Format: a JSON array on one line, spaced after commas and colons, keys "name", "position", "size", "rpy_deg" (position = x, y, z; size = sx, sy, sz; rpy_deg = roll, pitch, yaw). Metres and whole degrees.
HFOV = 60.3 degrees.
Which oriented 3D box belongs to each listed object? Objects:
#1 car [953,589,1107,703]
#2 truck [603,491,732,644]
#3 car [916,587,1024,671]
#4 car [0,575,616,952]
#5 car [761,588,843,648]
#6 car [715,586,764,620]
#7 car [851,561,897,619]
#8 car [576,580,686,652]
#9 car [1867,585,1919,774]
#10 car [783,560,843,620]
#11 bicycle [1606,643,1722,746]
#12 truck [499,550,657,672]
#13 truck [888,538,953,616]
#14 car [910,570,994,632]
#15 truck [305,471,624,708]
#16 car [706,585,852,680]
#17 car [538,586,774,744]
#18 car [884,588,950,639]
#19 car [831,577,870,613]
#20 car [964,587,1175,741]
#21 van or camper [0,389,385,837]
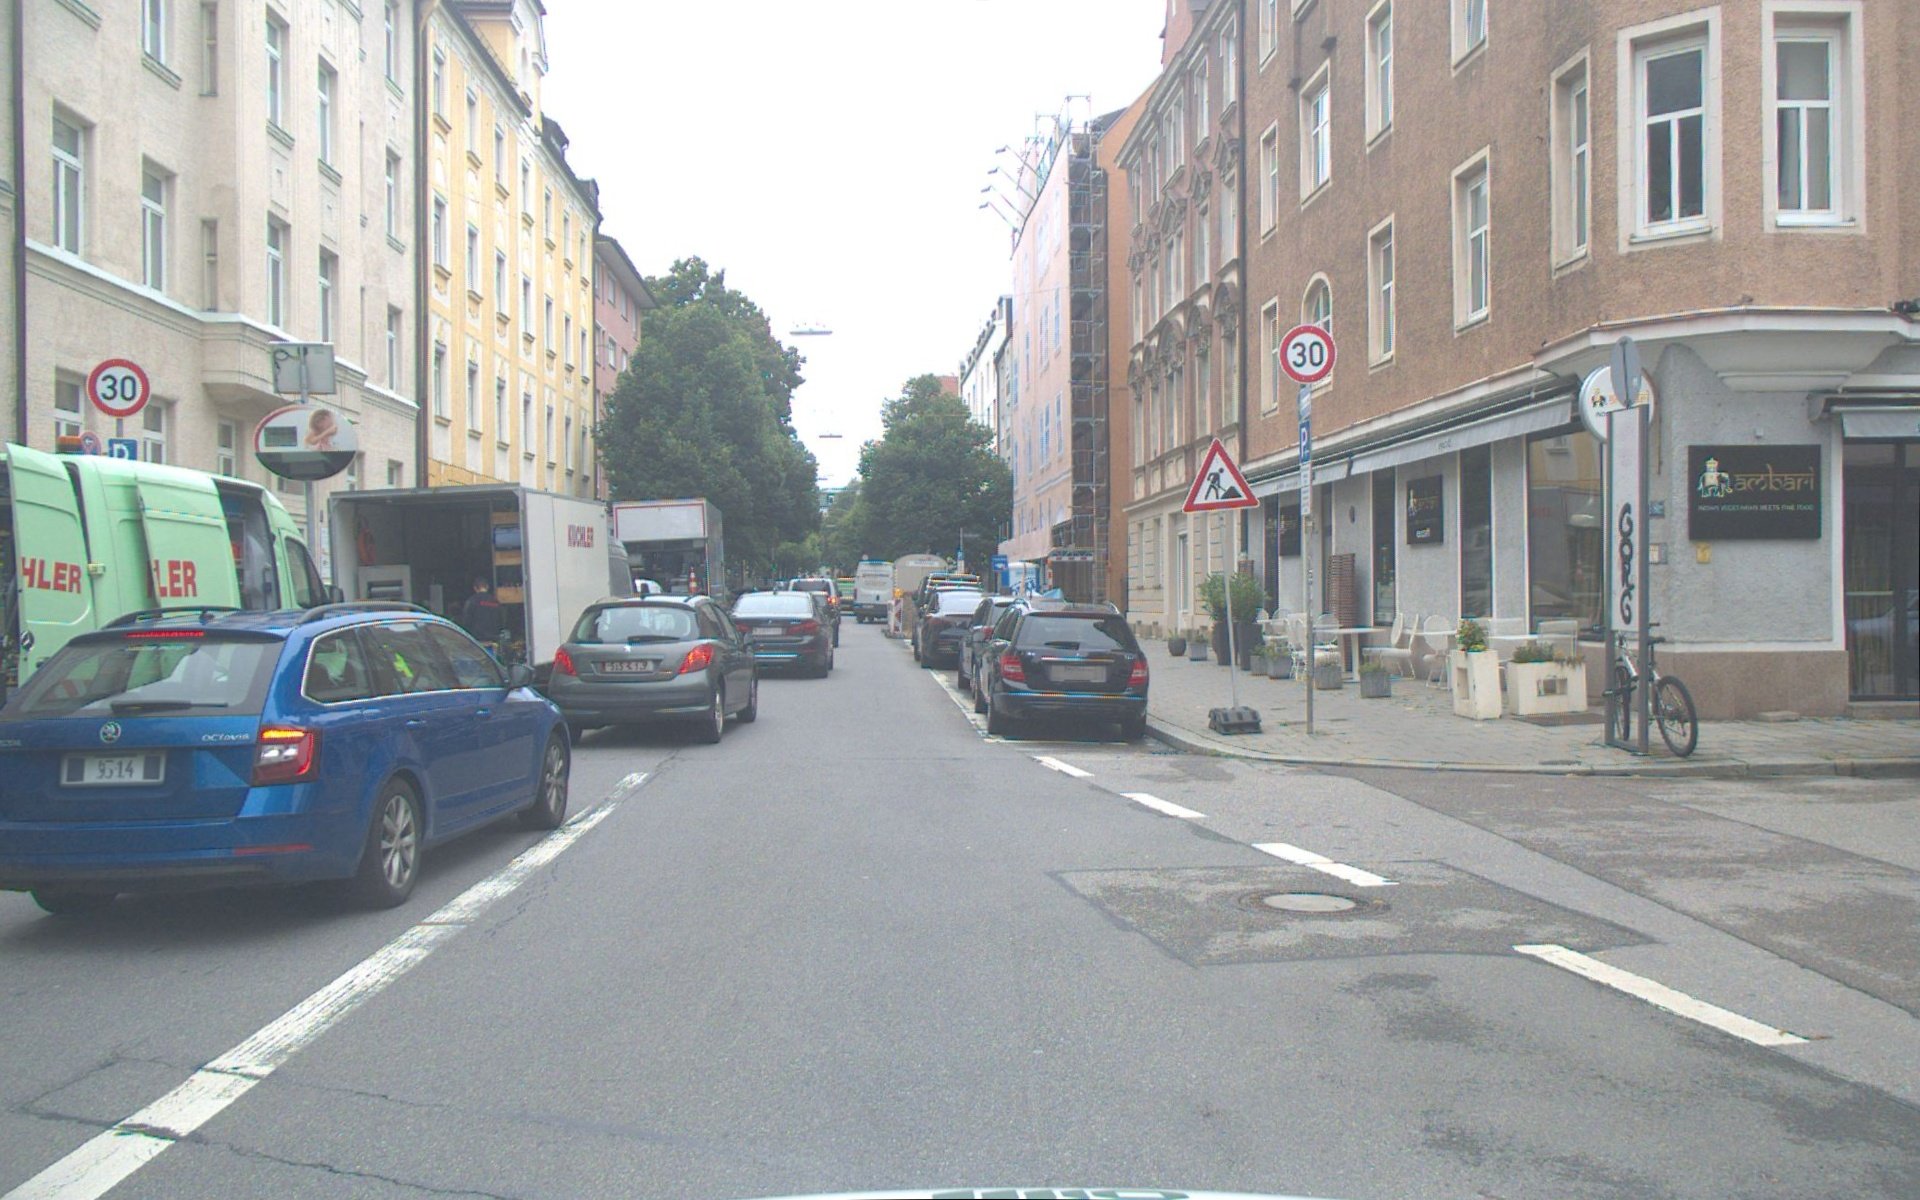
[{"name": "car", "position": [0.965, 0.625, 24.923], "size": [1.808, 1.454, 4.137], "rpy_deg": [2, 1, -4]}, {"name": "truck", "position": [-8.221, -0.872, 47.274], "size": [2.953, 4.021, 6.989], "rpy_deg": [0, 0, -4]}, {"name": "car", "position": [0.138, 0.533, 33.443], "size": [1.808, 1.454, 4.303], "rpy_deg": [2, 1, -4]}, {"name": "car", "position": [-3.464, 0.684, 8.986], "size": [1.945, 1.479, 4.736], "rpy_deg": [-1, -1, 3]}, {"name": "car", "position": [-4.234, 0.448, 44.887], "size": [1.950, 1.454, 4.139], "rpy_deg": [-1, 1, -2]}, {"name": "car", "position": [-9.804, 0.139, 73.657], "size": [1.901, 1.473, 3.863], "rpy_deg": [0, 0, -4]}, {"name": "car", "position": [-3.838, -0.458, 74.220], "size": [1.900, 2.523, 4.781], "rpy_deg": [0, 0, -1]}, {"name": "car", "position": [-7.811, 0.354, 39.629], "size": [1.950, 1.639, 4.138], "rpy_deg": [0, 0, -2]}, {"name": "car", "position": [9.435, 0.580, 12.514], "size": [4.086, 1.454, 1.924], "rpy_deg": [-1, -2, -3]}, {"name": "car", "position": [-5.307, -0.395, 60.173], "size": [1.950, 2.111, 4.139], "rpy_deg": [-1, 1, -2]}, {"name": "bicycle", "position": [6.174, 0.812, 14.557], "size": [0.447, 0.819, 1.326], "rpy_deg": [0, 0, -1]}, {"name": "truck", "position": [-7.340, 0.188, 32.270], "size": [2.241, 2.209, 4.803], "rpy_deg": [0, 0, -4]}, {"name": "truck", "position": [-1.668, -0.908, 67.291], "size": [2.442, 3.025, 5.324], "rpy_deg": [0, 0, -4]}, {"name": "car", "position": [-0.244, -0.008, 41.450], "size": [1.950, 1.454, 4.139], "rpy_deg": [-1, 1, -2]}, {"name": "truck", "position": [-6.883, -0.209, 24.168], "size": [2.717, 2.923, 7.199], "rpy_deg": [-1, 1, -2]}, {"name": "car", "position": [-3.104, 0.502, 29.288], "size": [1.949, 1.454, 4.907], "rpy_deg": [1, 1, 1]}, {"name": "car", "position": [-3.143, 0.618, 17.883], "size": [1.722, 1.486, 4.074], "rpy_deg": [-1, 0, 1]}, {"name": "car", "position": [-1.347, 0.379, 51.177], "size": [1.950, 1.454, 4.139], "rpy_deg": [-1, 1, -2]}, {"name": "car", "position": [-5.994, -0.288, 90.926], "size": [1.953, 1.937, 3.999], "rpy_deg": [0, 0, -1]}, {"name": "car", "position": [1.133, 0.646, 19.003], "size": [1.808, 1.454, 4.180], "rpy_deg": [2, 1, -4]}, {"name": "van or camper", "position": [-7.041, 0.033, 13.718], "size": [2.548, 2.889, 6.183], "rpy_deg": [-1, 1, -2]}]
